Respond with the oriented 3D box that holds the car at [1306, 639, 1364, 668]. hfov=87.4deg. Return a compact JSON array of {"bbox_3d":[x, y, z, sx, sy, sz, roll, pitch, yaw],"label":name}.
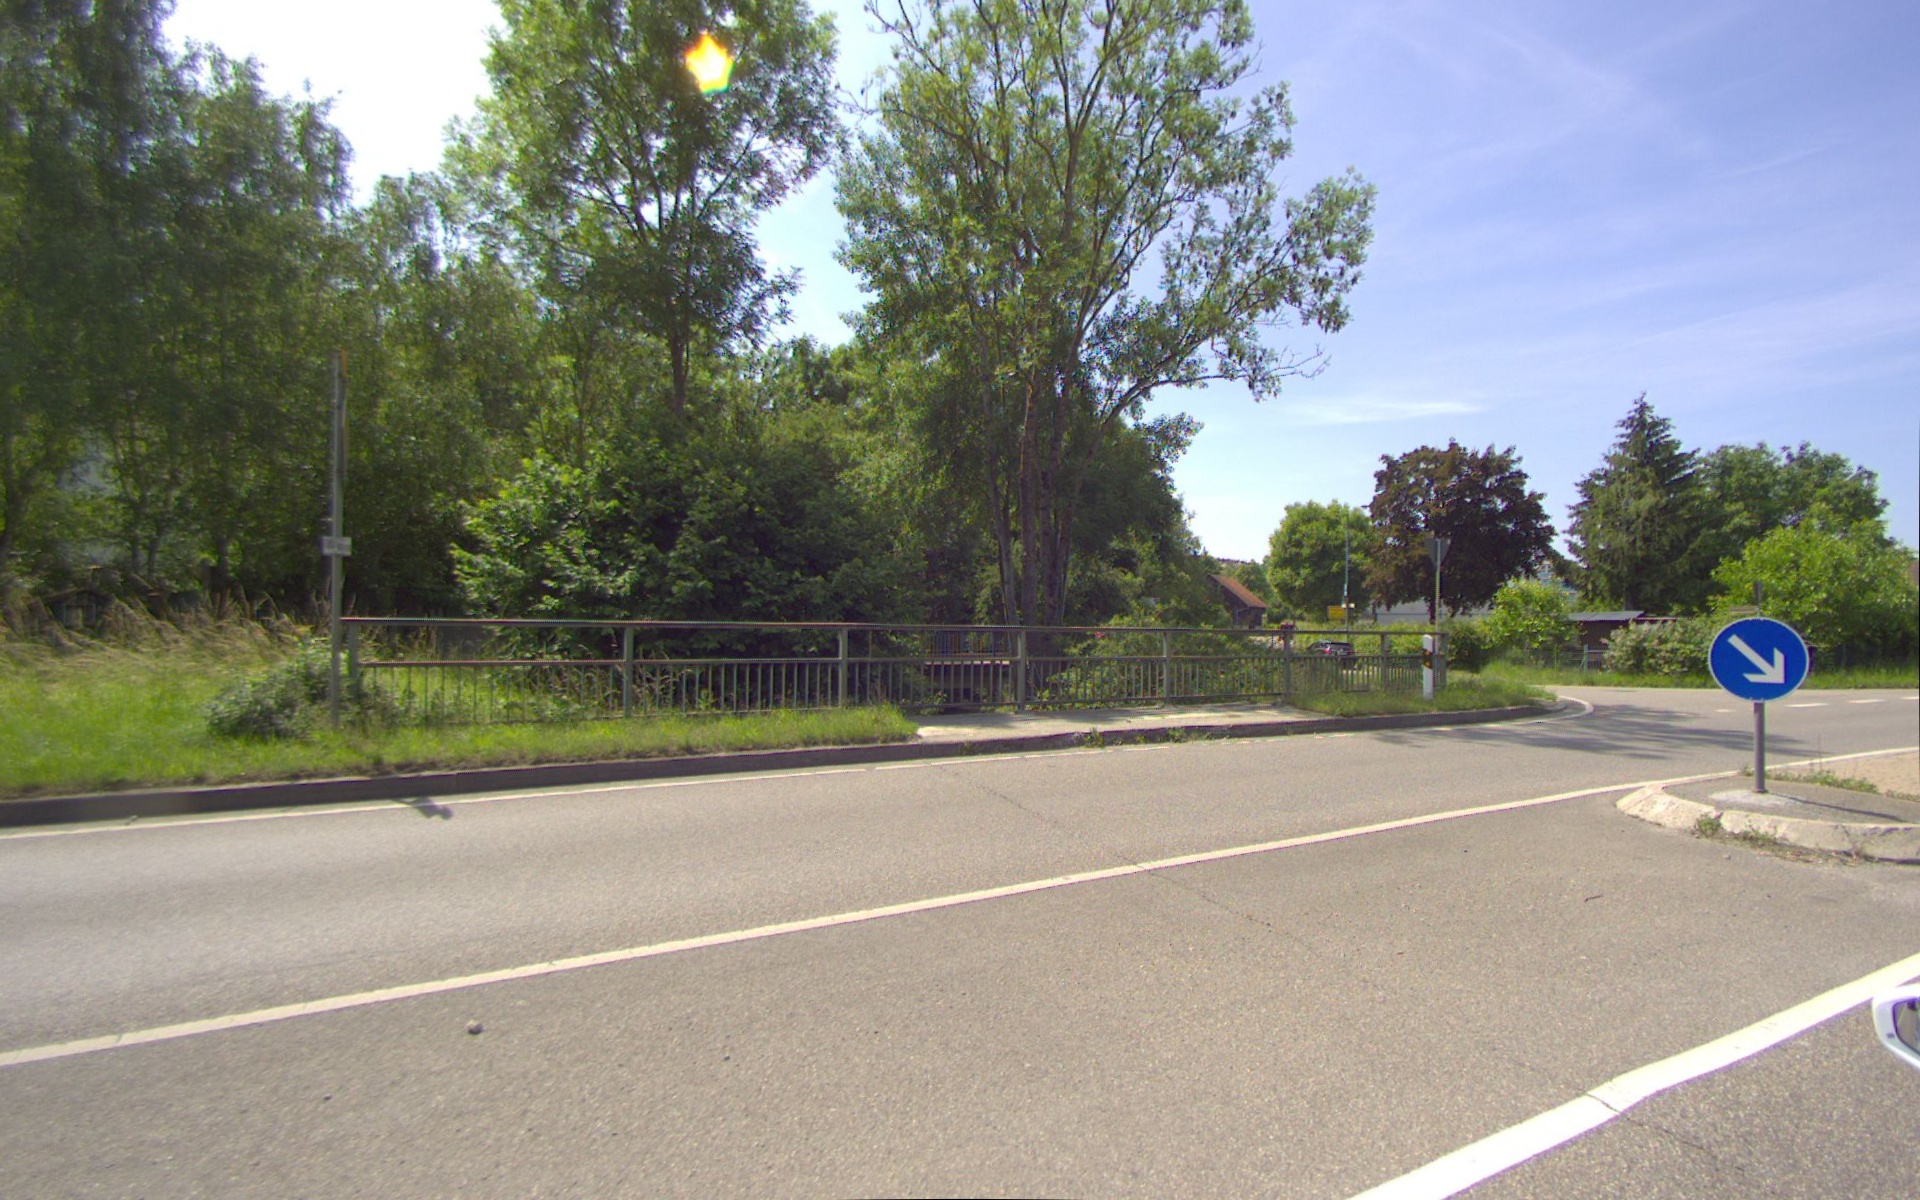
[{"bbox_3d":[19.711,2.775,52.932,1.762,1.375,4.003,3,-2,5],"label":"car"}]
